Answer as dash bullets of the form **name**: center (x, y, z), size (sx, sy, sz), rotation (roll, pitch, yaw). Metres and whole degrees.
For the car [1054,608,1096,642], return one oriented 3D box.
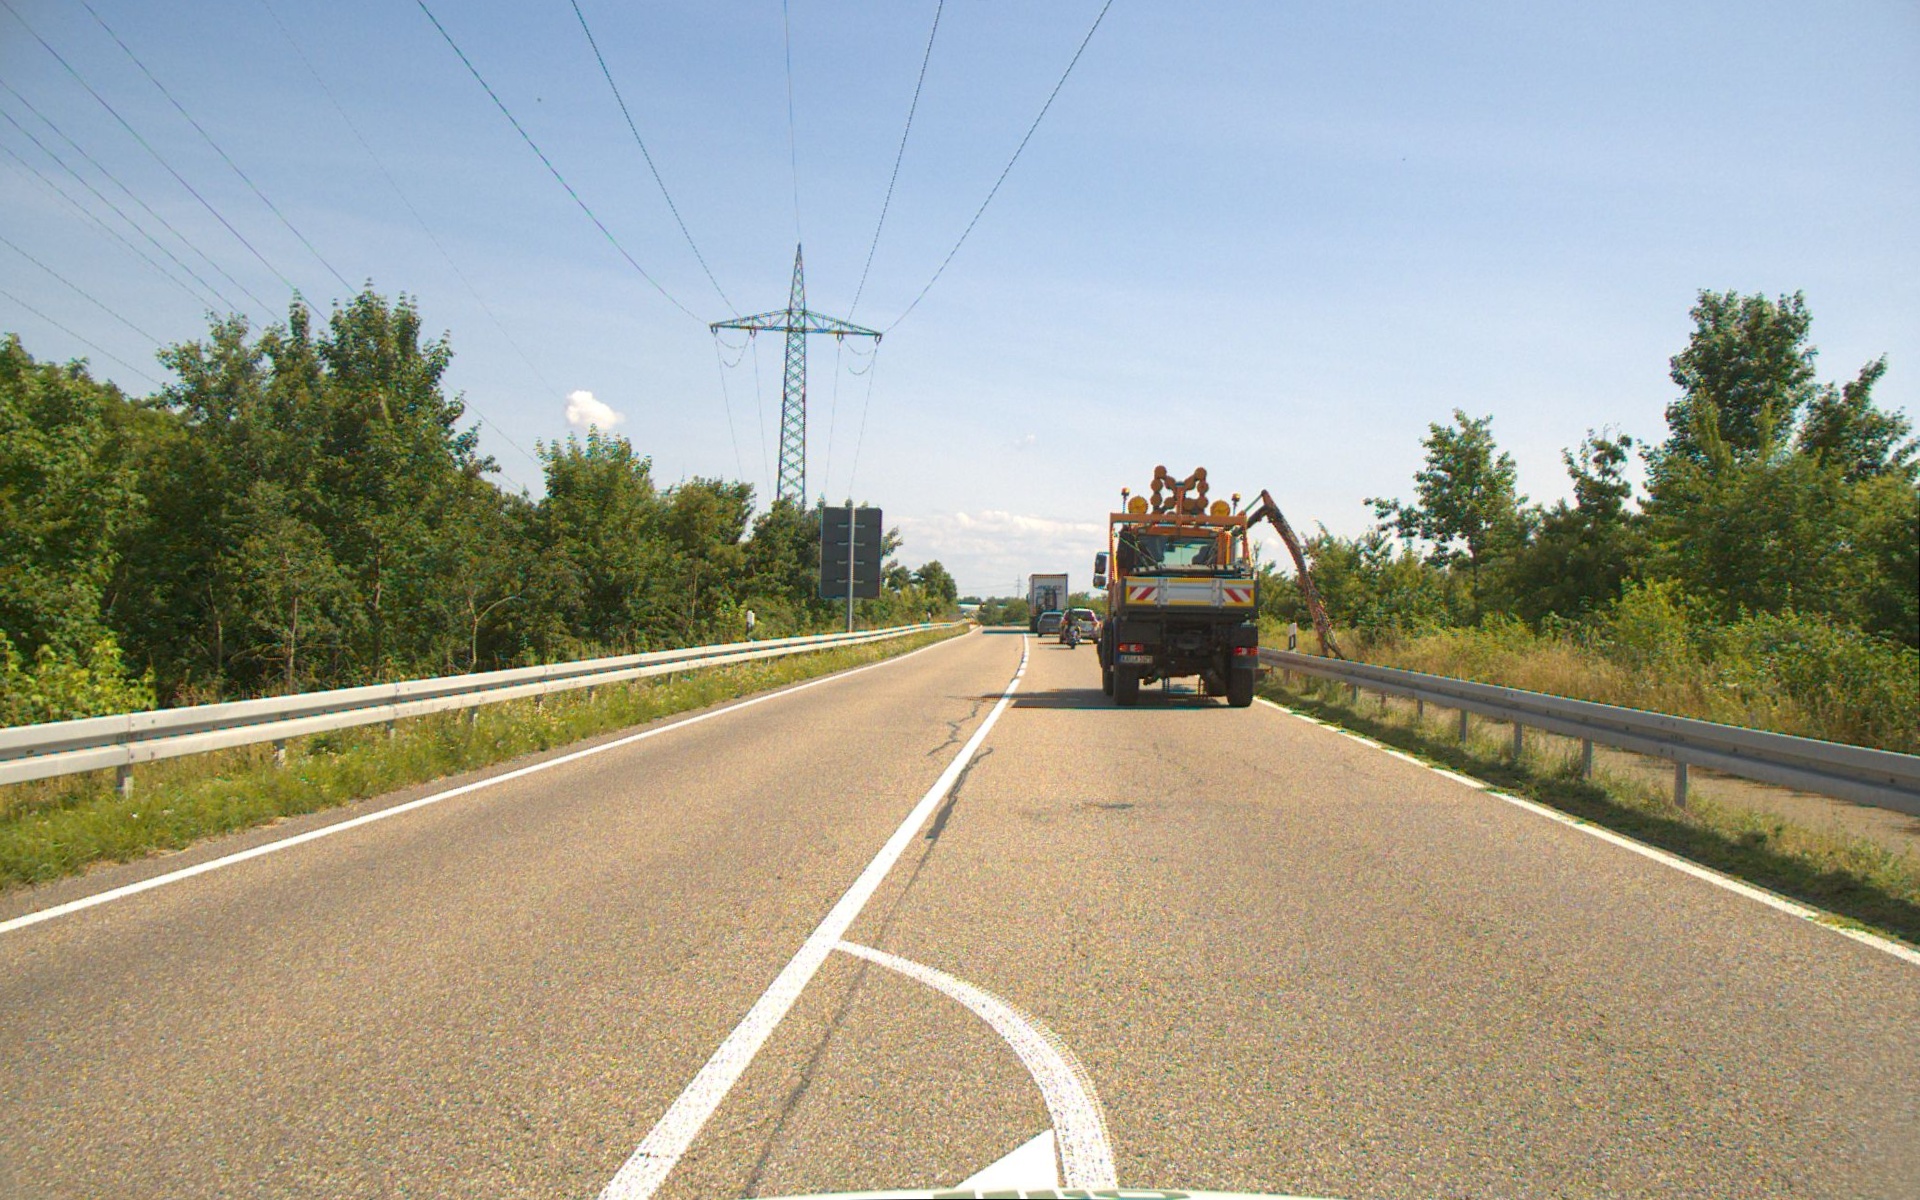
- **car**: center (5.250, 1.098, 75.142), size (1.787, 1.477, 4.003), rotation (1, 0, 6)

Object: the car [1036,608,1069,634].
- **car**: center (5.345, 1.200, 95.999), size (1.827, 1.445, 4.001), rotation (1, 0, 3)

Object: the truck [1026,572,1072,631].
- **truck**: center (6.448, 0.130, 119.691), size (3.174, 4.048, 9.447), rotation (1, -1, 3)

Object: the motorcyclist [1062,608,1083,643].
- **motorcyclist**: center (4.395, 0.977, 64.689), size (0.764, 1.349, 0.813), rotation (1, 0, 3)

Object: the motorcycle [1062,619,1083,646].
- **motorcycle**: center (4.381, 1.261, 64.667), size (0.764, 0.993, 2.362), rotation (1, 0, 3)

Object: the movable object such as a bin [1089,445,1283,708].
- **movable object such as a bin**: center (3.751, -0.360, 29.520), size (2.695, 3.906, 9.449), rotation (1, 0, 3)
